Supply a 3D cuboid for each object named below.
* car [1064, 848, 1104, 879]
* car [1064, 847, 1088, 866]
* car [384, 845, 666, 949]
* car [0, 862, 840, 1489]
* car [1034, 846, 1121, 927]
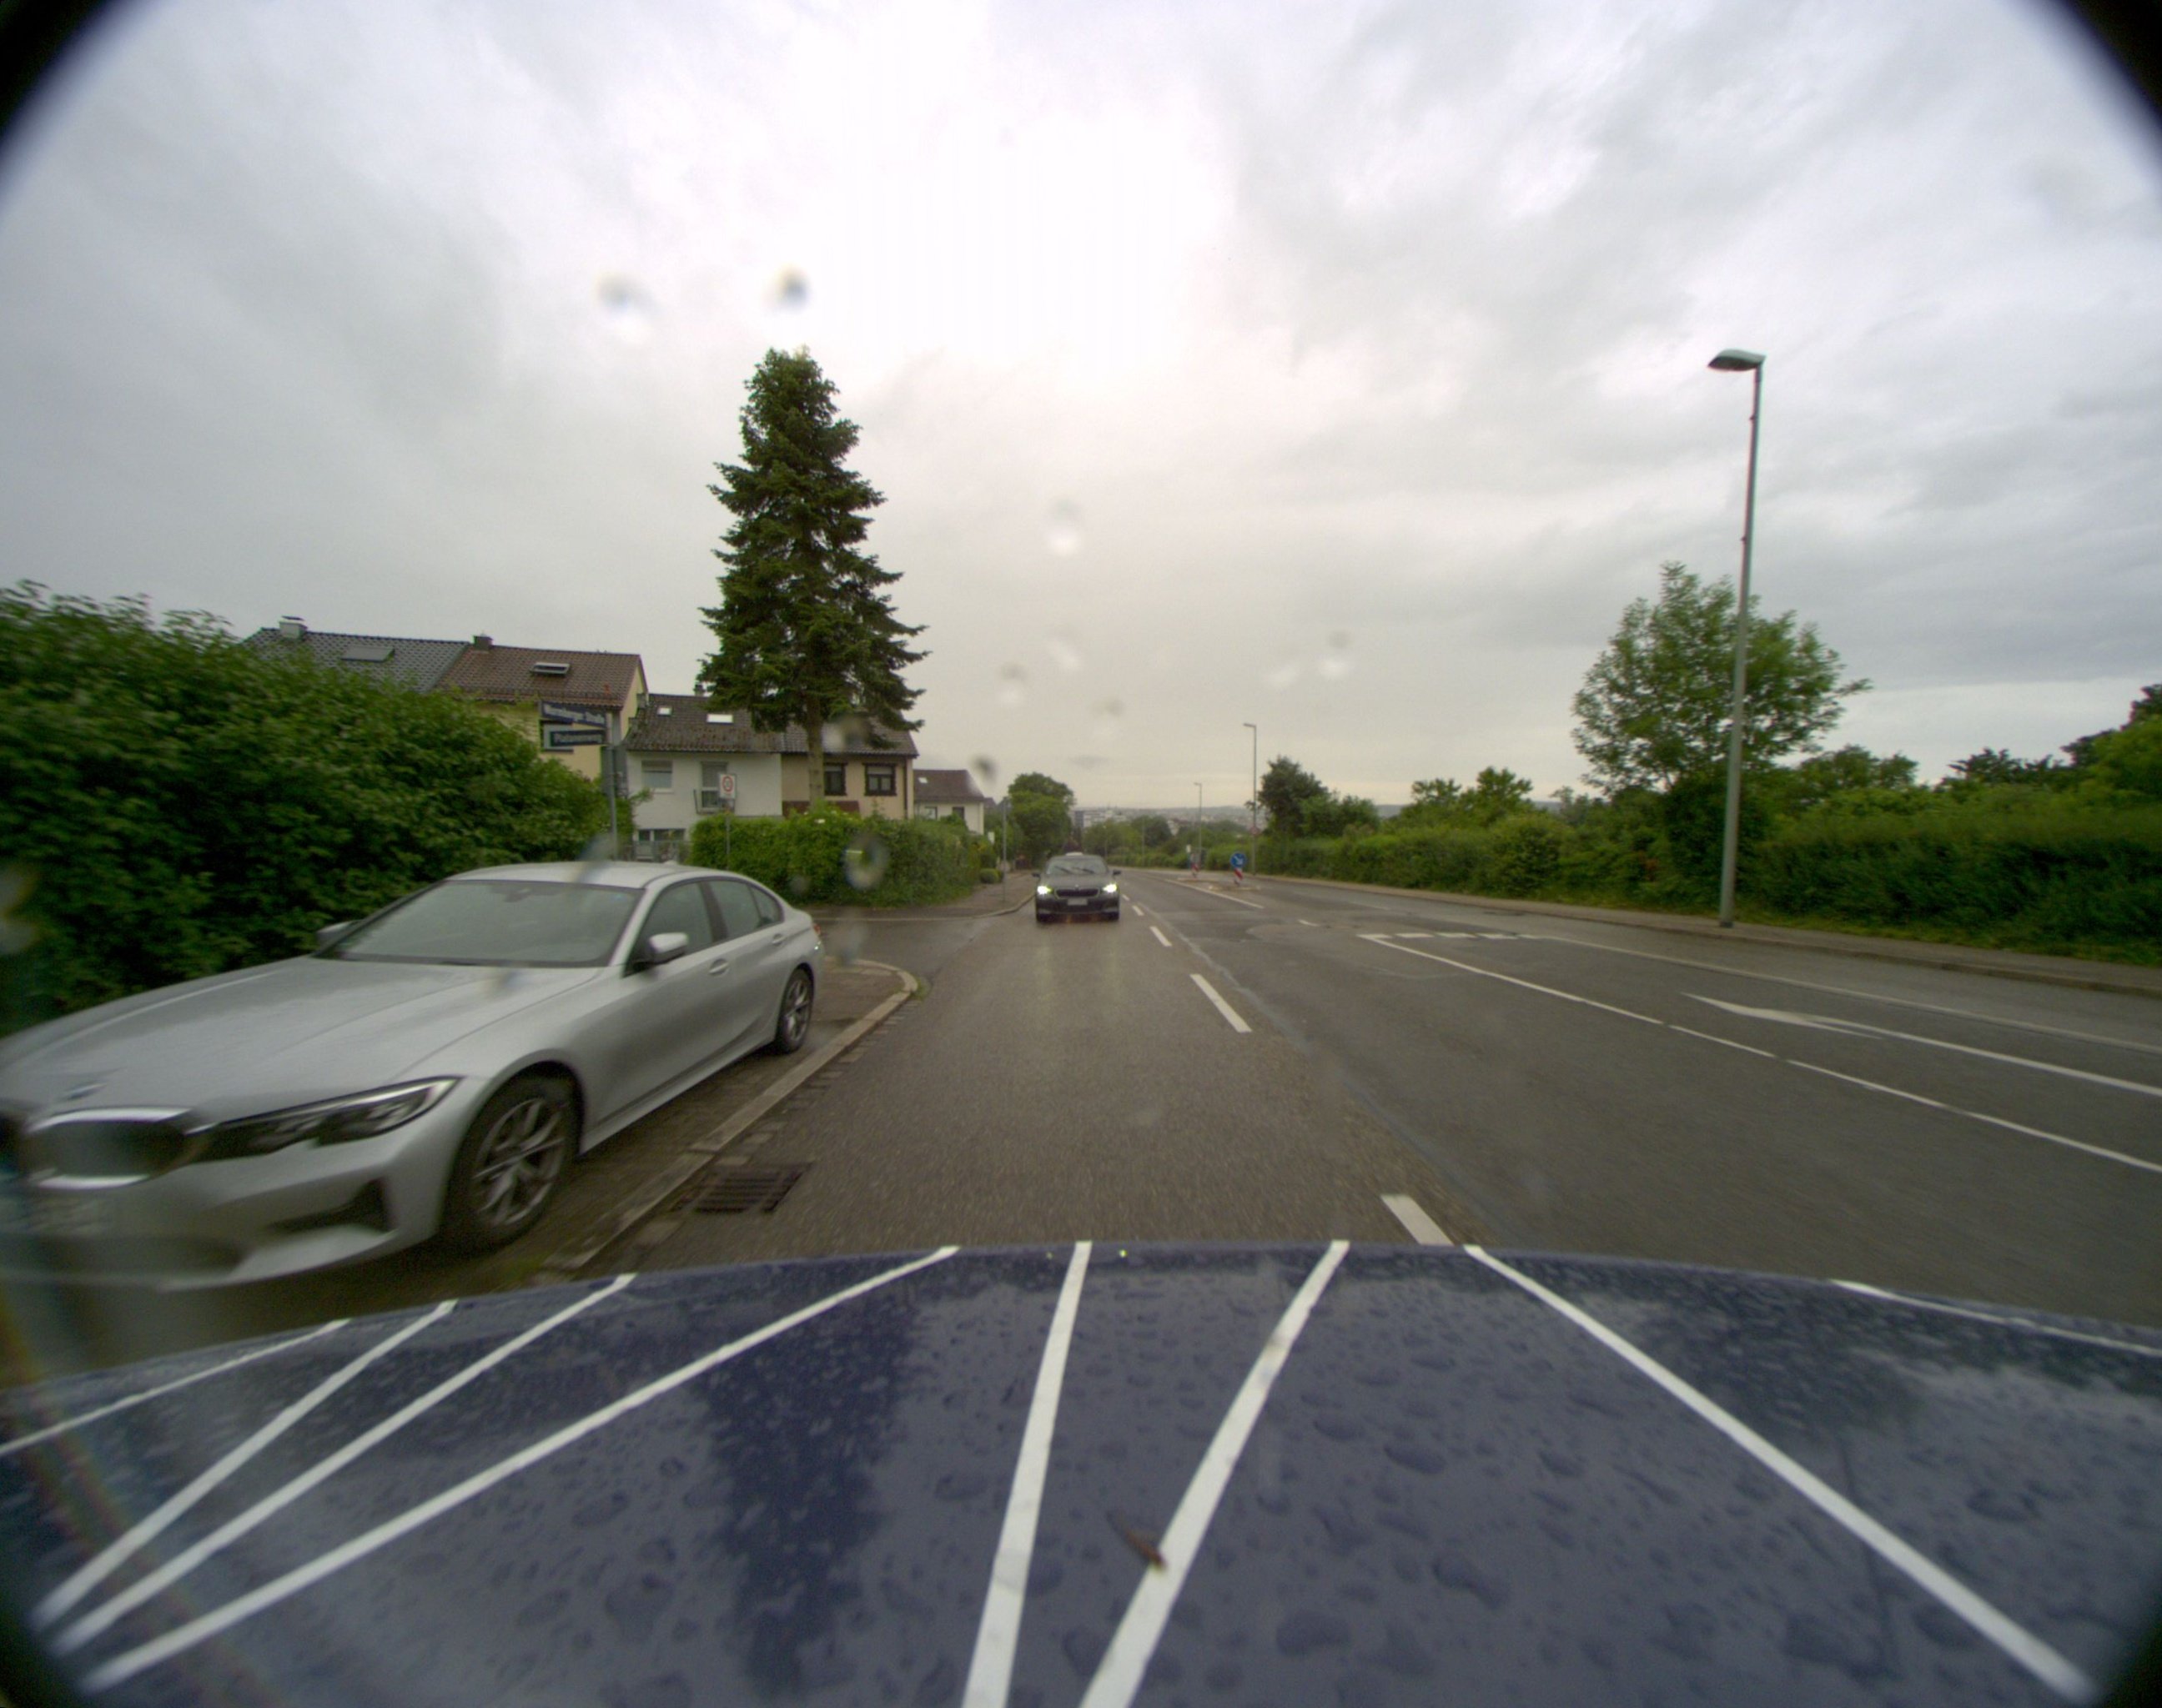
[{"bbox_3d":[0.121,0.479,43.774,1.999,1.674,4.172,0,1,-4],"label":"car"},{"bbox_3d":[-0.463,0.189,67.885,1.999,1.674,4.172,0,1,-2],"label":"car"},{"bbox_3d":[-9.771,0.706,13.551,3.782,1.504,1.727,3,2,3],"label":"car"},{"bbox_3d":[-3.077,0.883,4.326,1.803,1.513,4.591,3,1,1],"label":"car"},{"bbox_3d":[0.013,0.684,18.456,1.828,1.668,4.296,-2,1,2],"label":"car"}]
